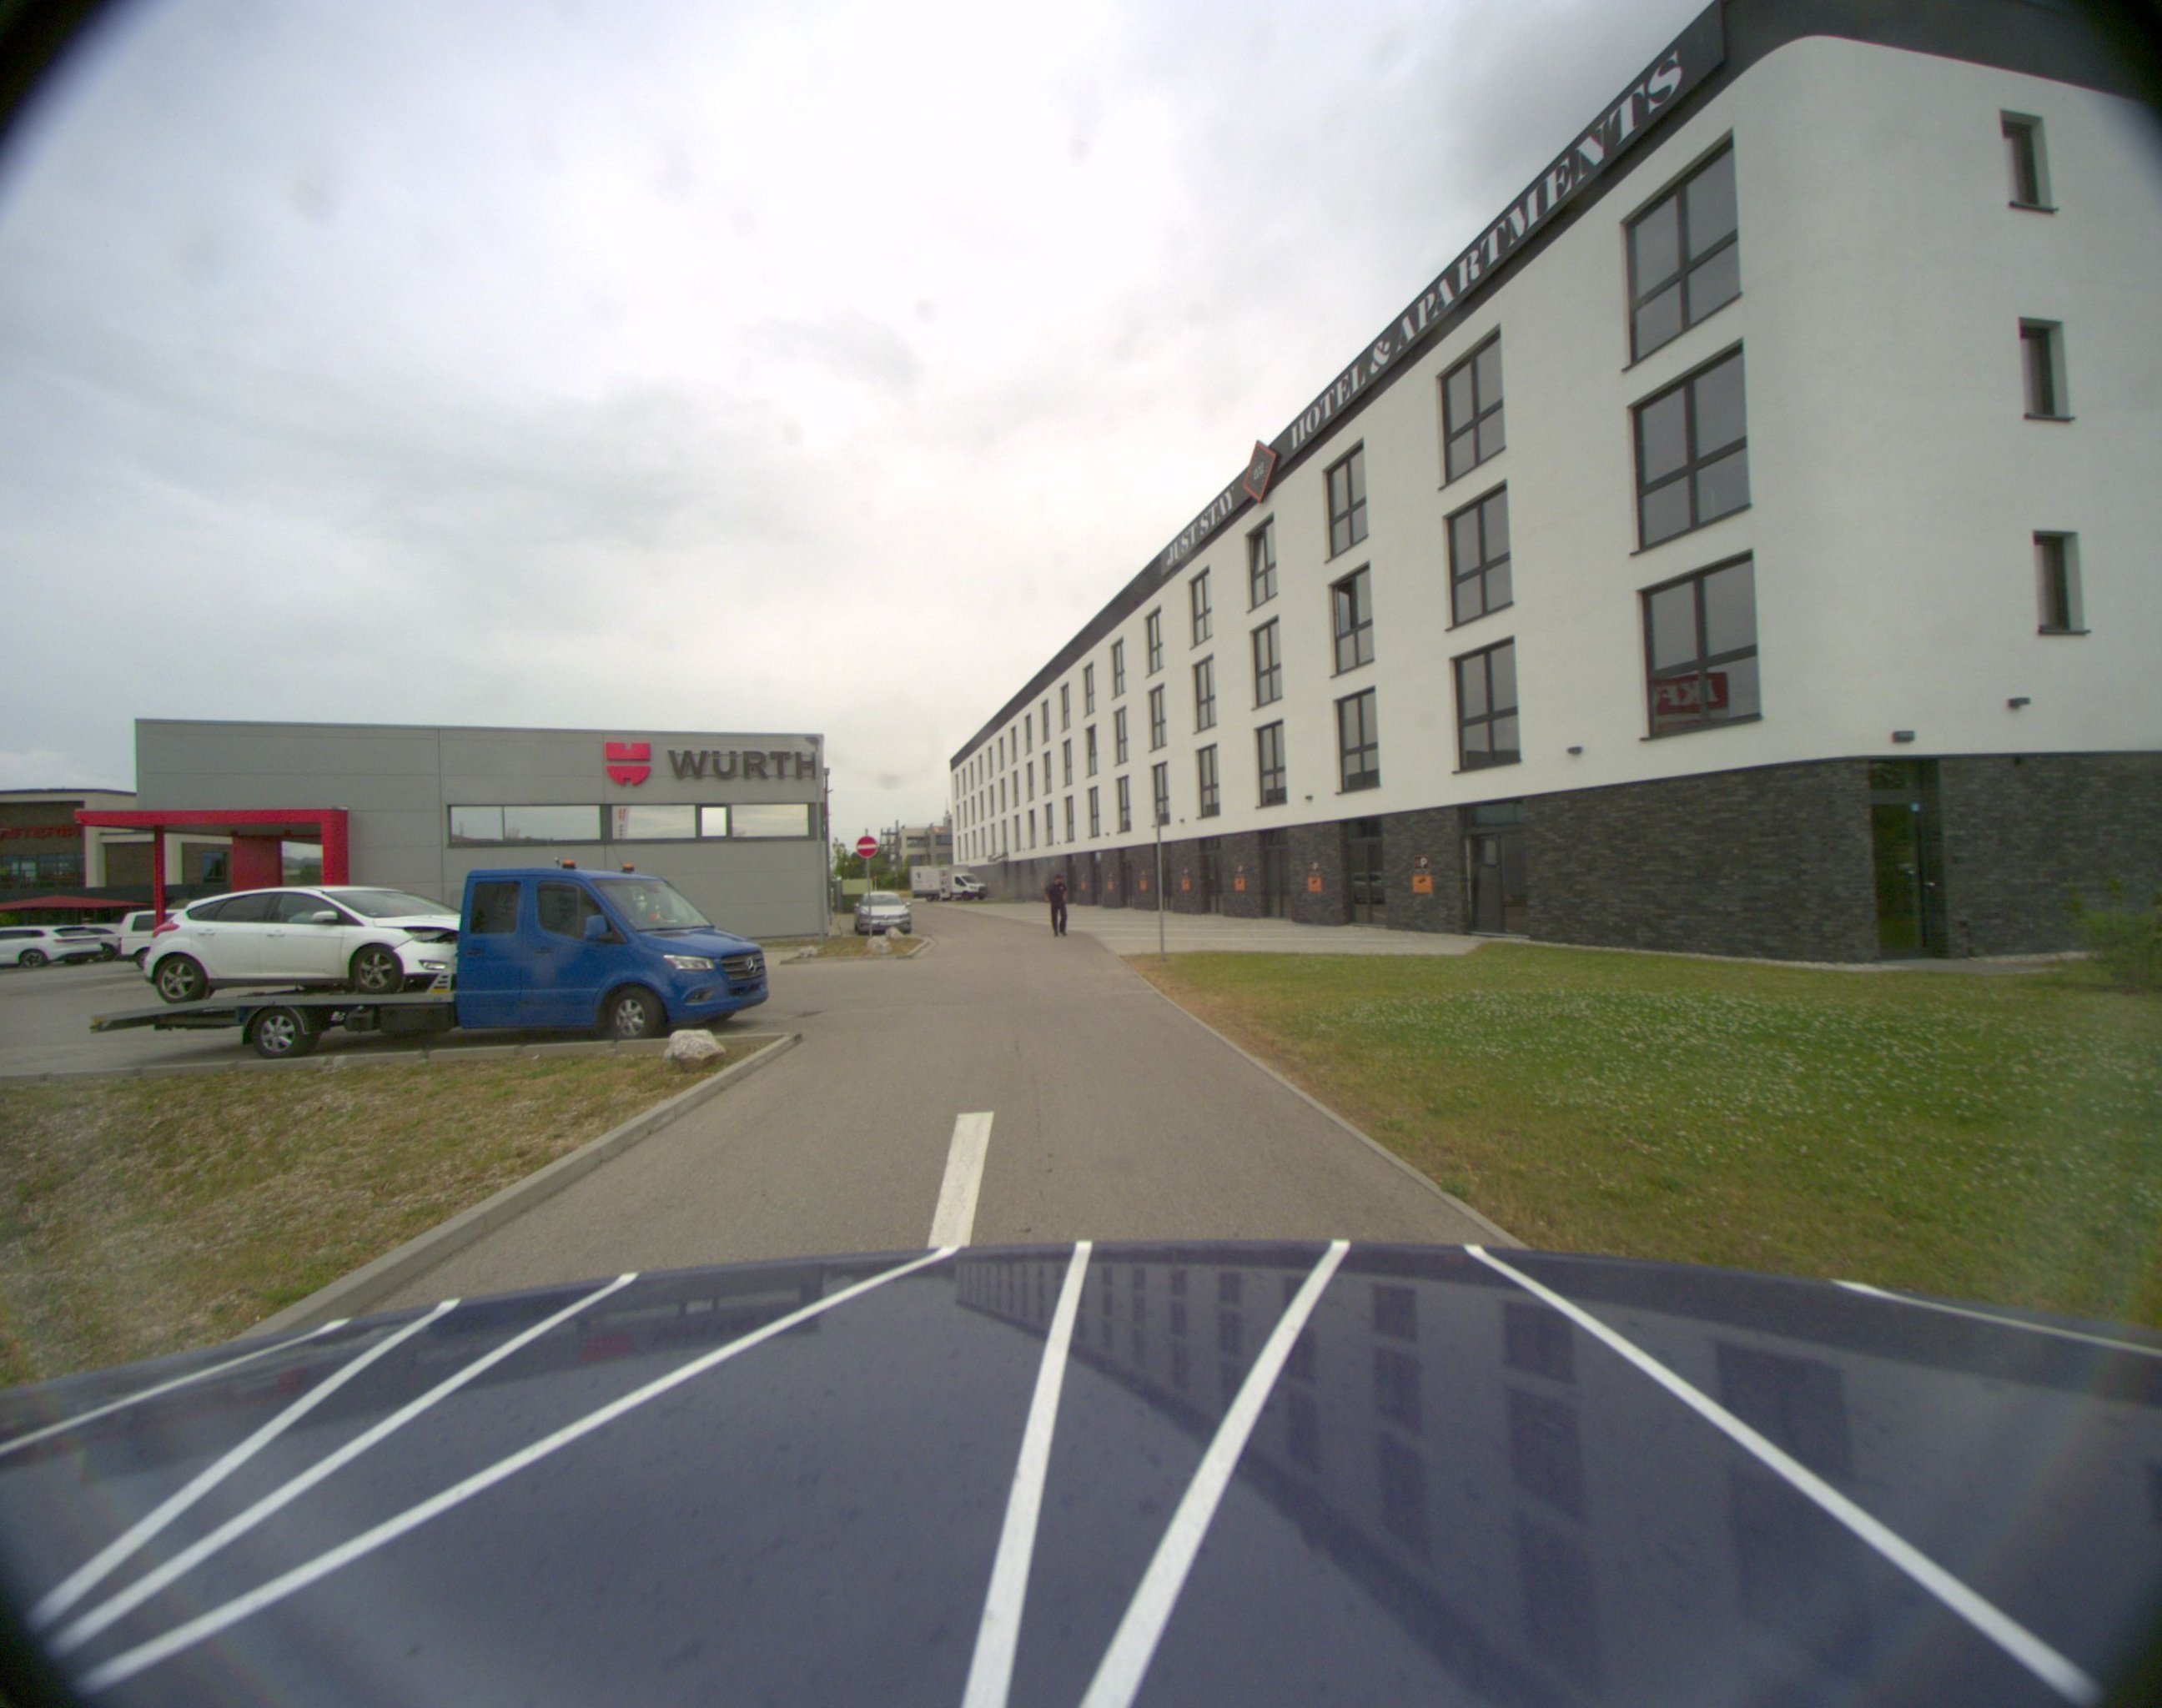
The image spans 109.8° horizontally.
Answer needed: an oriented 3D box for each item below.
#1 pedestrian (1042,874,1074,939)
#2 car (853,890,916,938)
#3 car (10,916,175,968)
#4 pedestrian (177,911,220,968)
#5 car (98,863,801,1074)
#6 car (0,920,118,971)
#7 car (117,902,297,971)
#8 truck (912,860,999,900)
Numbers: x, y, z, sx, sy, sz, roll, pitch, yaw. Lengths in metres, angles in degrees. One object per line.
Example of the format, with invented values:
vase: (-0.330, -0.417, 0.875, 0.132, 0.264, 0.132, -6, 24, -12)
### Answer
pedestrian: (-0.662, 1.500, 21.898, 0.710, 1.811, 0.812, -2, -1, -13)
car: (-7.114, 2.126, 27.972, 1.981, 1.482, 4.767, 0, -1, -11)
car: (-43.448, 3.830, 33.522, 4.002, 1.848, 1.998, -2, -1, -16)
pedestrian: (-29.156, 2.805, 25.122, 0.659, 1.796, 0.649, -2, -1, -16)
car: (-8.106, 1.431, 10.227, 7.849, 2.308, 2.202, -2, -1, 4)
car: (-42.887, 3.758, 30.693, 4.744, 1.738, 1.756, -3, -1, -16)
car: (-29.917, 2.789, 26.142, 3.678, 1.967, 1.674, -3, 0, -17)
truck: (-10.317, 2.137, 61.988, 7.051, 2.998, 2.441, -3, 0, 33)
